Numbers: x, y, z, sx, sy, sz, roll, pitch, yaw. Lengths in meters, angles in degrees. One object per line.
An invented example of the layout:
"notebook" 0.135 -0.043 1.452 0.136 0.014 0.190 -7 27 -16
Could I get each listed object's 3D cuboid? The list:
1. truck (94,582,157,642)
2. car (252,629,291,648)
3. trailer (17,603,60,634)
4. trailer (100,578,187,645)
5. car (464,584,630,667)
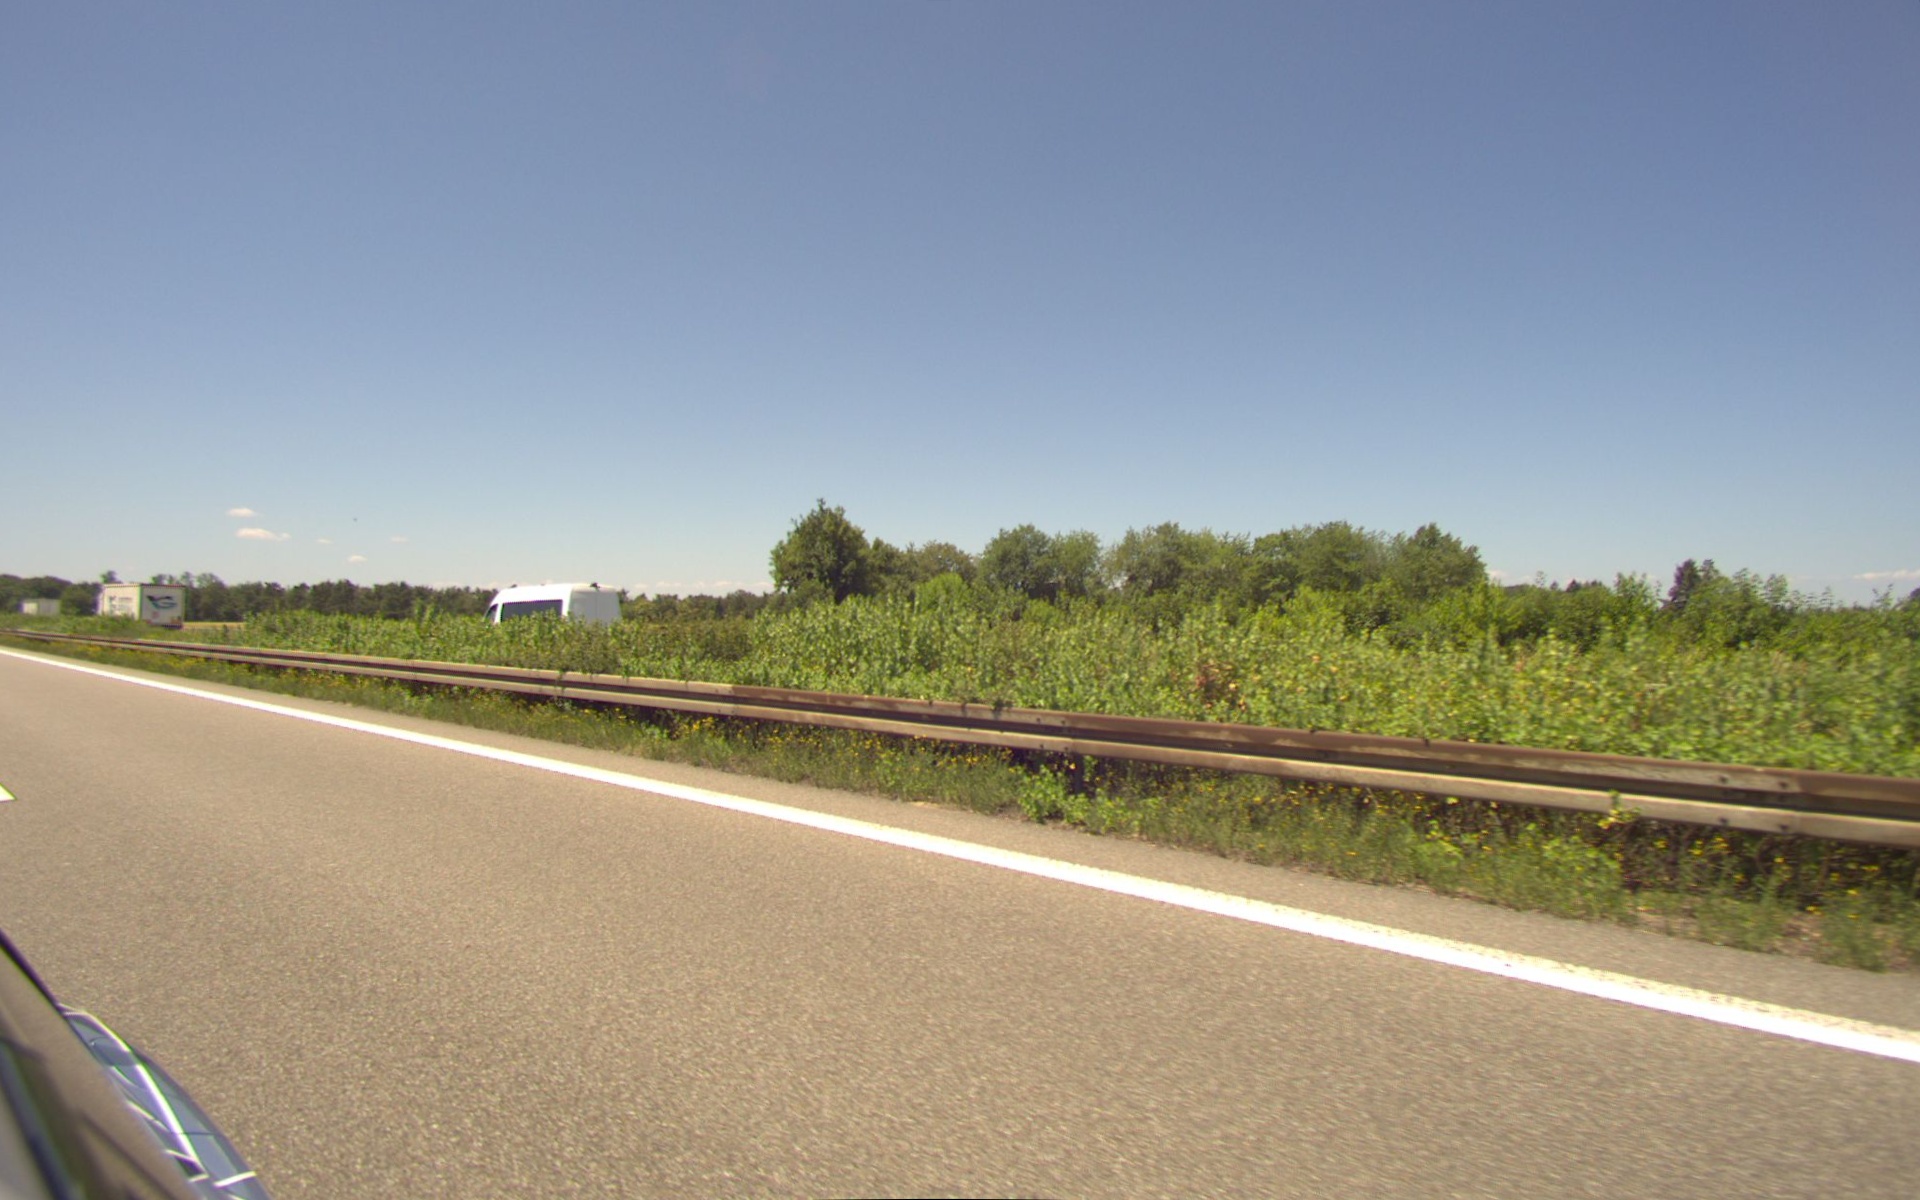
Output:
"truck" -65.296 0.924 79.137 6.536 4.560 2.792 -1 0 42
"car" -57.707 3.193 84.832 3.999 1.436 1.787 -1 0 42
"trailer" -127.670 2.565 140.131 13.951 4.089 3.026 -1 0 42
"trailer" -60.632 0.843 74.968 13.861 4.560 2.791 -1 0 42
"car" -13.249 0.759 32.198 6.729 2.412 2.059 -1 0 41
